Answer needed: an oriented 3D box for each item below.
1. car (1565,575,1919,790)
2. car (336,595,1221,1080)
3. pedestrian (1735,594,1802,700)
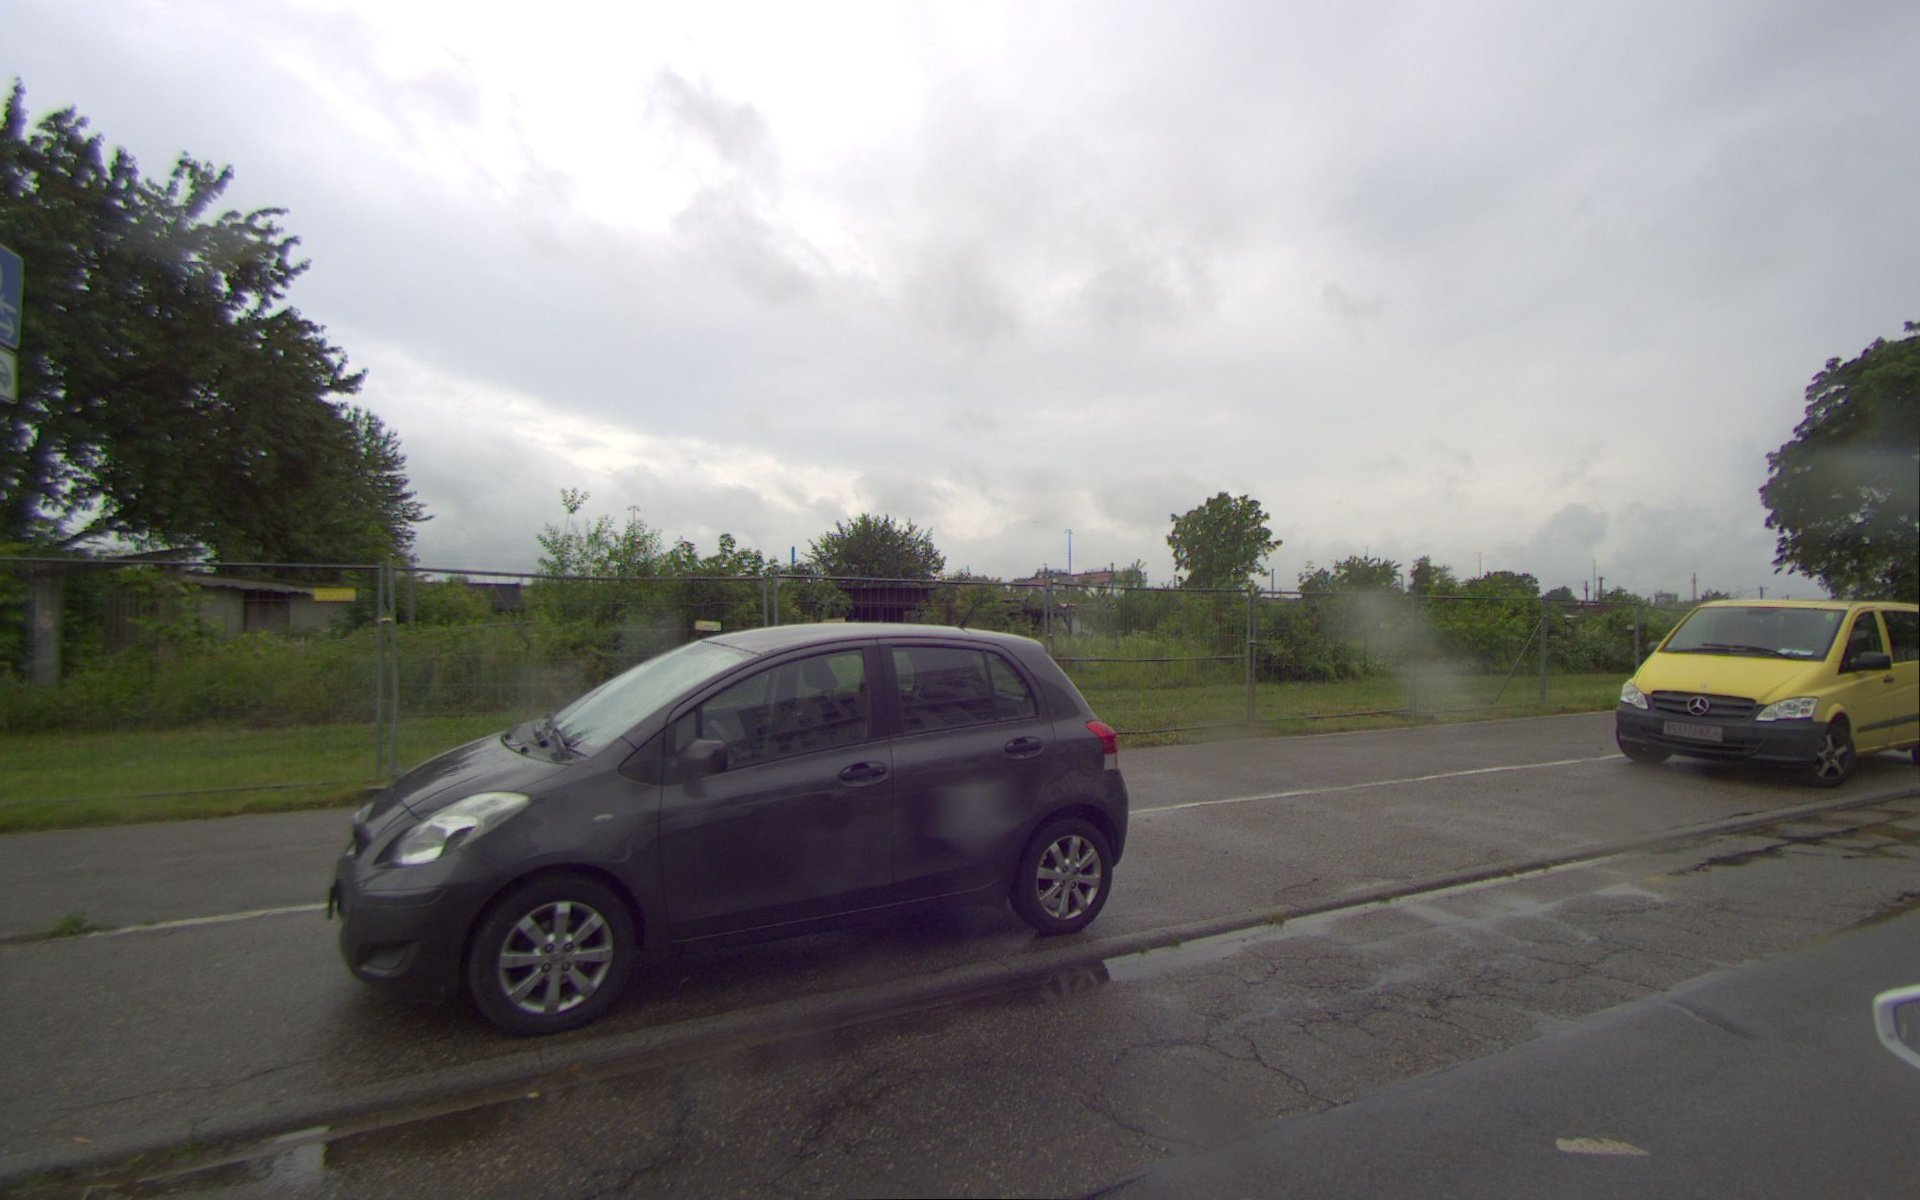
[{"bbox_3d":[9.694,0.819,11.641,5.995,1.982,2.007,2,0,-31],"label":"car"},{"bbox_3d":[-0.786,0.813,5.125,3.985,1.582,1.795,1,1,-30],"label":"car"},{"bbox_3d":[15.993,0.912,19.872,0.968,2.040,0.739,1,-1,-30],"label":"pedestrian"}]
